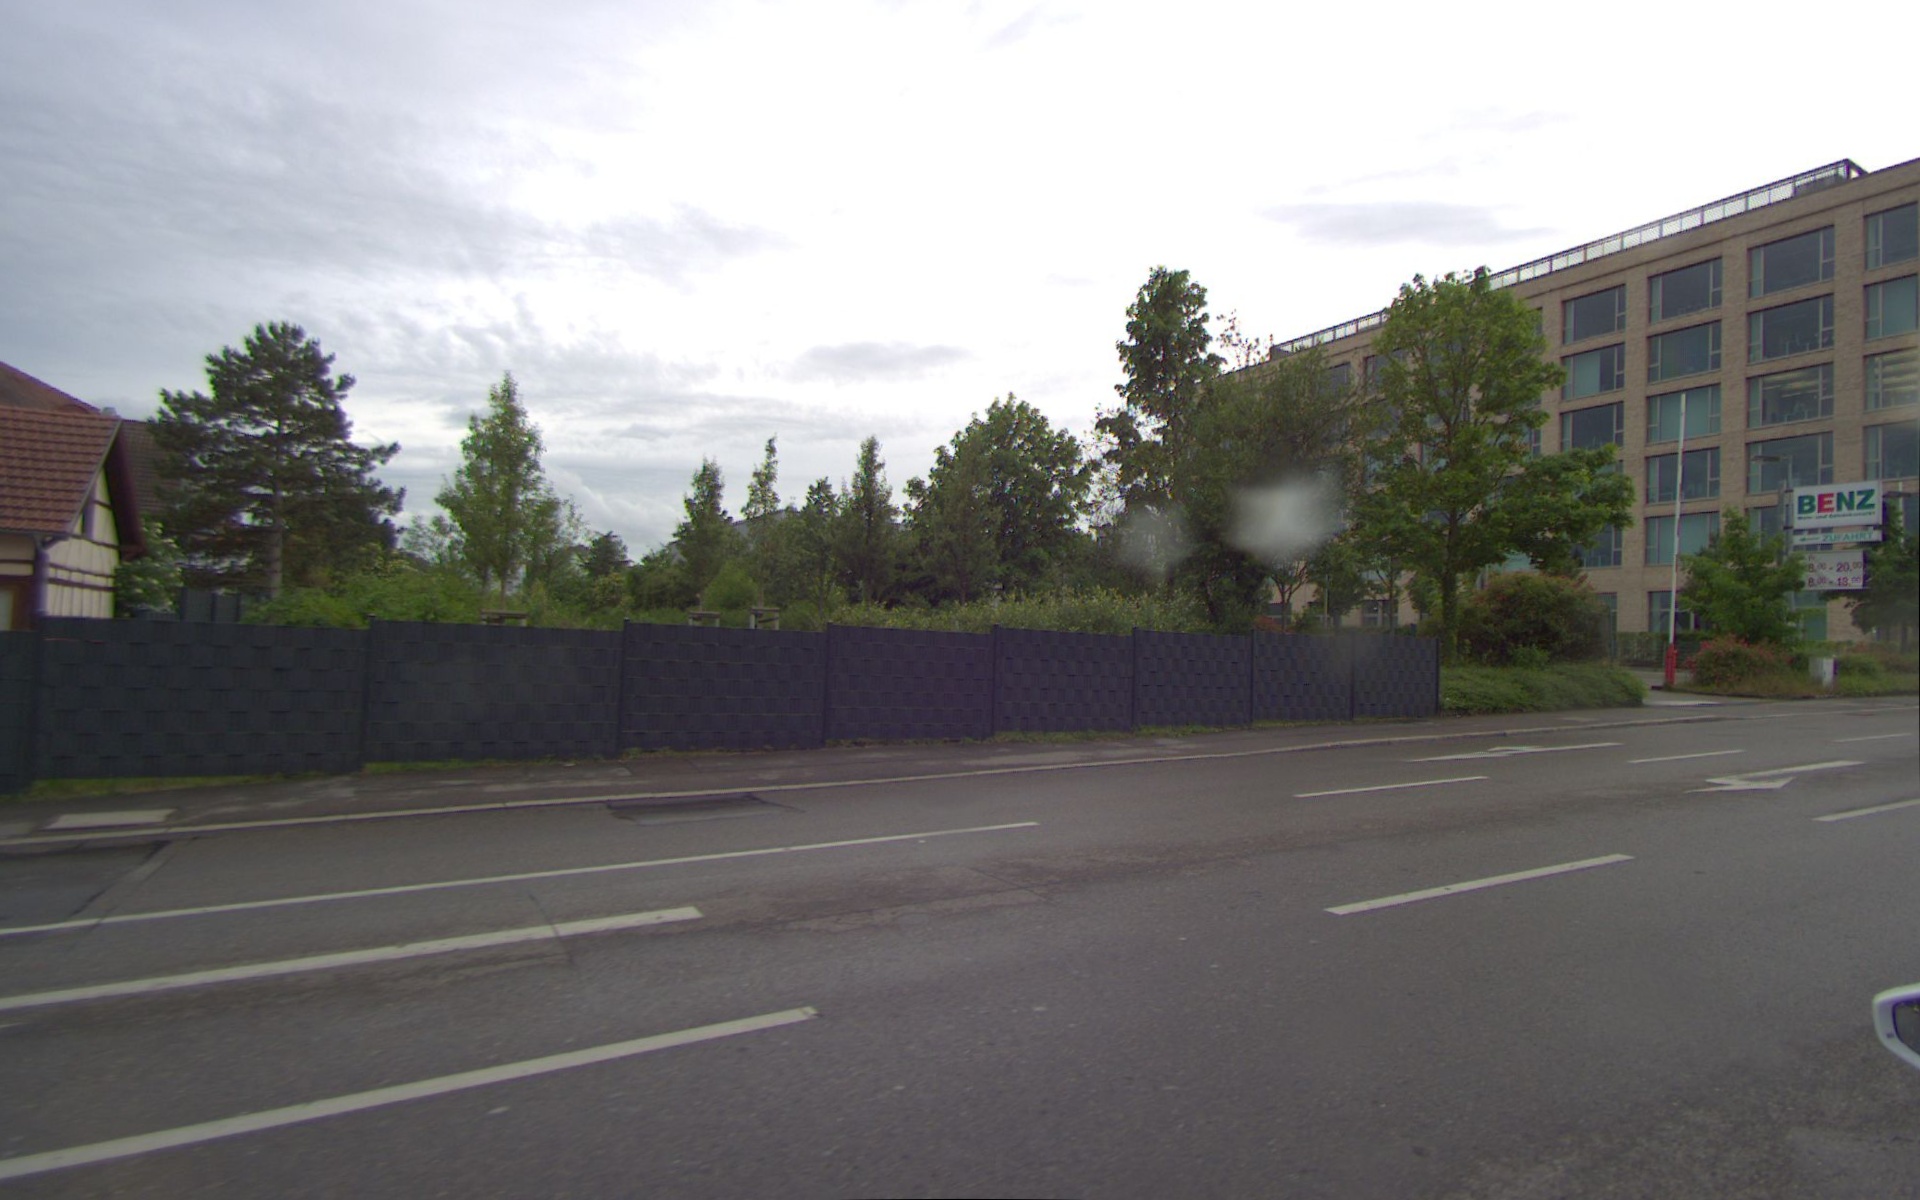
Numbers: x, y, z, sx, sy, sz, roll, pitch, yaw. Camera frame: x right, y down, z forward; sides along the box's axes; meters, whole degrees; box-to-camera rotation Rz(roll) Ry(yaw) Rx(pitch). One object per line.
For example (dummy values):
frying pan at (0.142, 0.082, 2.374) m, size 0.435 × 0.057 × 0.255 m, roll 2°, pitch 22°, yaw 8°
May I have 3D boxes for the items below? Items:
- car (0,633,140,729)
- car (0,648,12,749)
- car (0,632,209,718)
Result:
car at (-16.540, 1.336, 16.913) m, size 3.953 × 1.536 × 1.689 m, roll 2°, pitch -1°, yaw -30°
car at (-11.150, 1.140, 10.119) m, size 1.590 × 1.178 × 3.963 m, roll 2°, pitch -2°, yaw -33°
car at (-17.258, 1.440, 19.588) m, size 3.953 × 1.536 × 1.634 m, roll 2°, pitch -1°, yaw -30°
